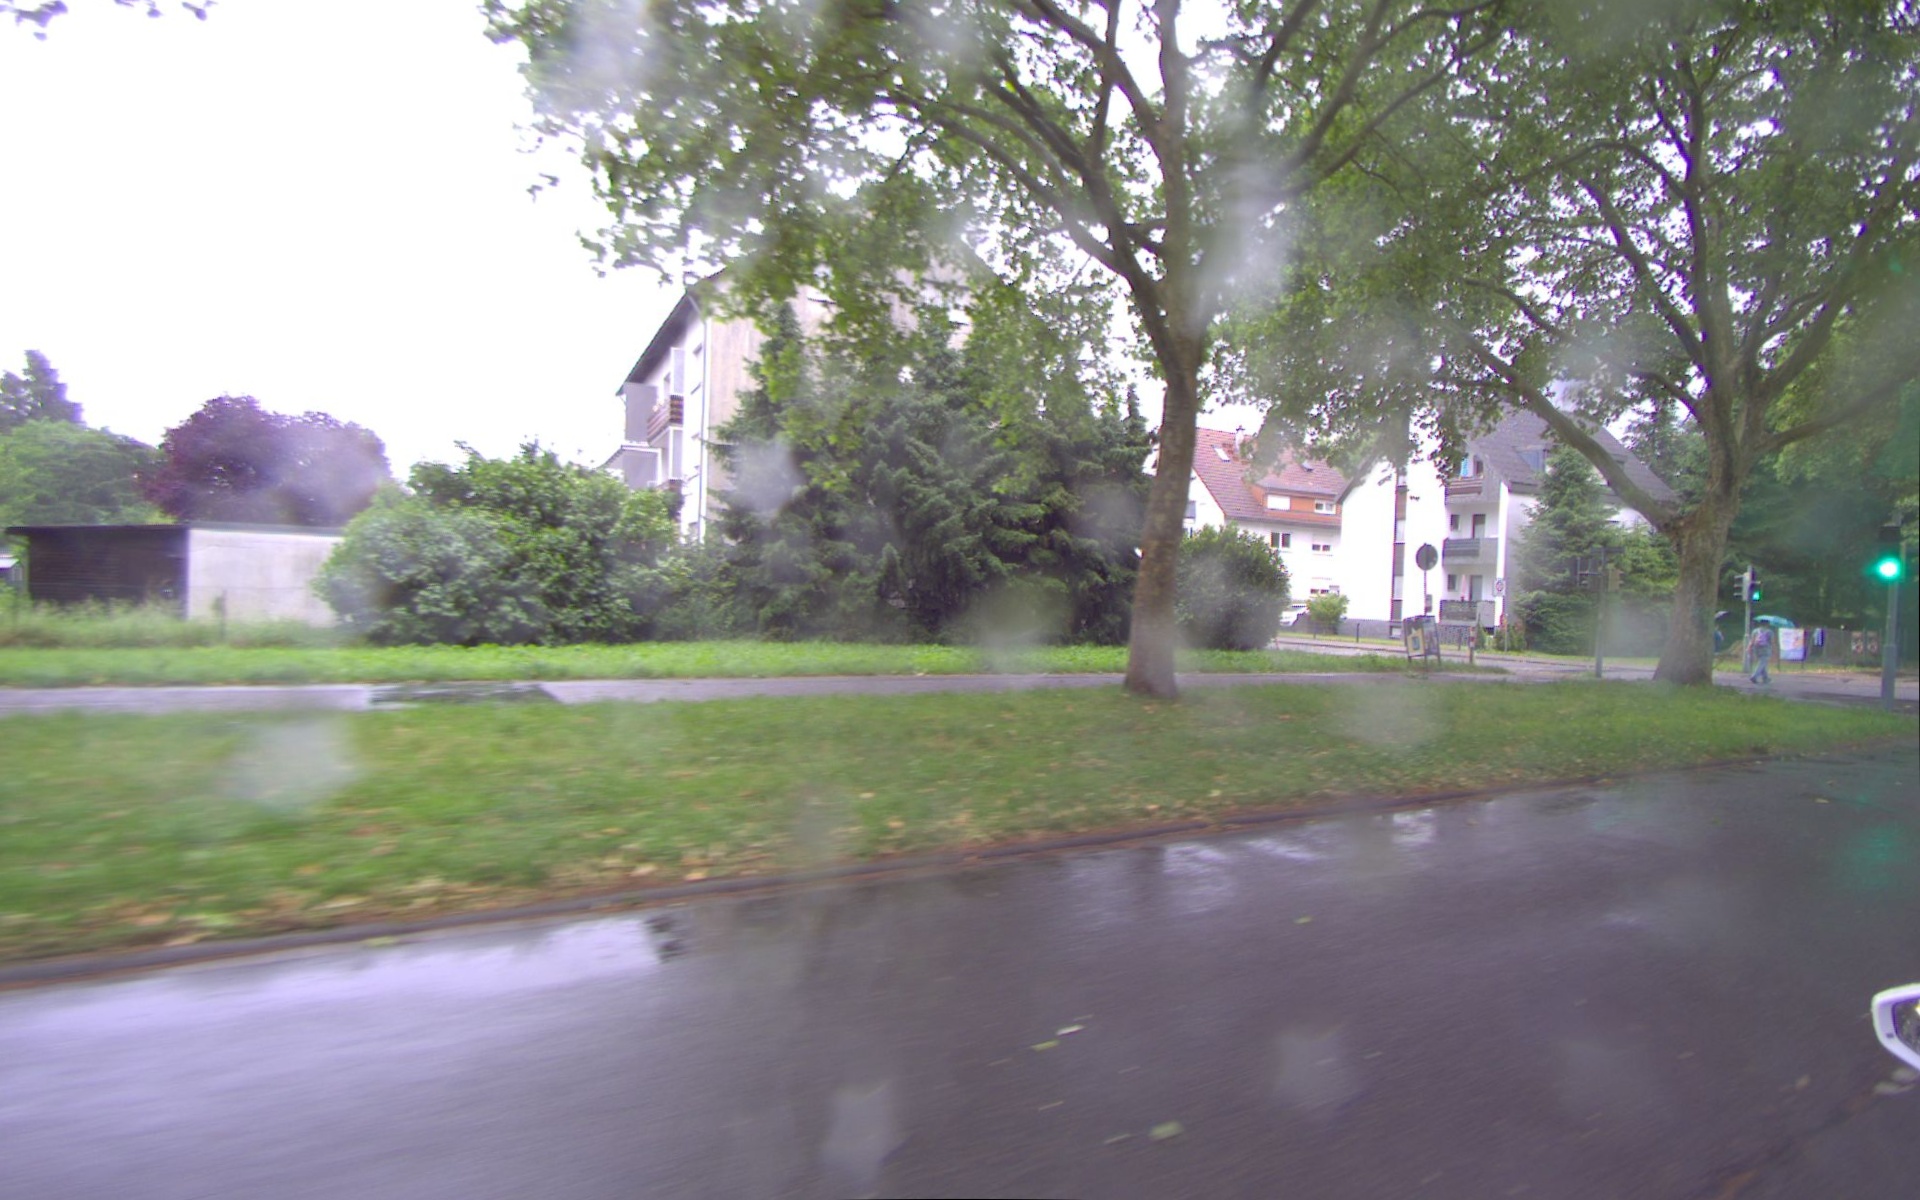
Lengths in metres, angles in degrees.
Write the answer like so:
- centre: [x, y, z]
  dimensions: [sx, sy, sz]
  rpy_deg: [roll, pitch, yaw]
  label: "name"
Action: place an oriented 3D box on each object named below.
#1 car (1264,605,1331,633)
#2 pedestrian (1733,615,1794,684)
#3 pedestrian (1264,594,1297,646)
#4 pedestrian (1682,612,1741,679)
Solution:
- centre: [19.299, 1.076, 57.400]
  dimensions: [3.613, 1.465, 1.608]
  rpy_deg: [2, -1, -30]
  label: "car"
- centre: [21.515, 1.299, 26.892]
  dimensions: [0.828, 1.789, 1.028]
  rpy_deg: [1, 0, -29]
  label: "pedestrian"
- centre: [11.062, 0.688, 34.694]
  dimensions: [0.633, 1.768, 0.854]
  rpy_deg: [1, 1, -32]
  label: "pedestrian"
- centre: [20.920, 1.252, 27.972]
  dimensions: [0.869, 1.789, 1.028]
  rpy_deg: [1, 0, -29]
  label: "pedestrian"
